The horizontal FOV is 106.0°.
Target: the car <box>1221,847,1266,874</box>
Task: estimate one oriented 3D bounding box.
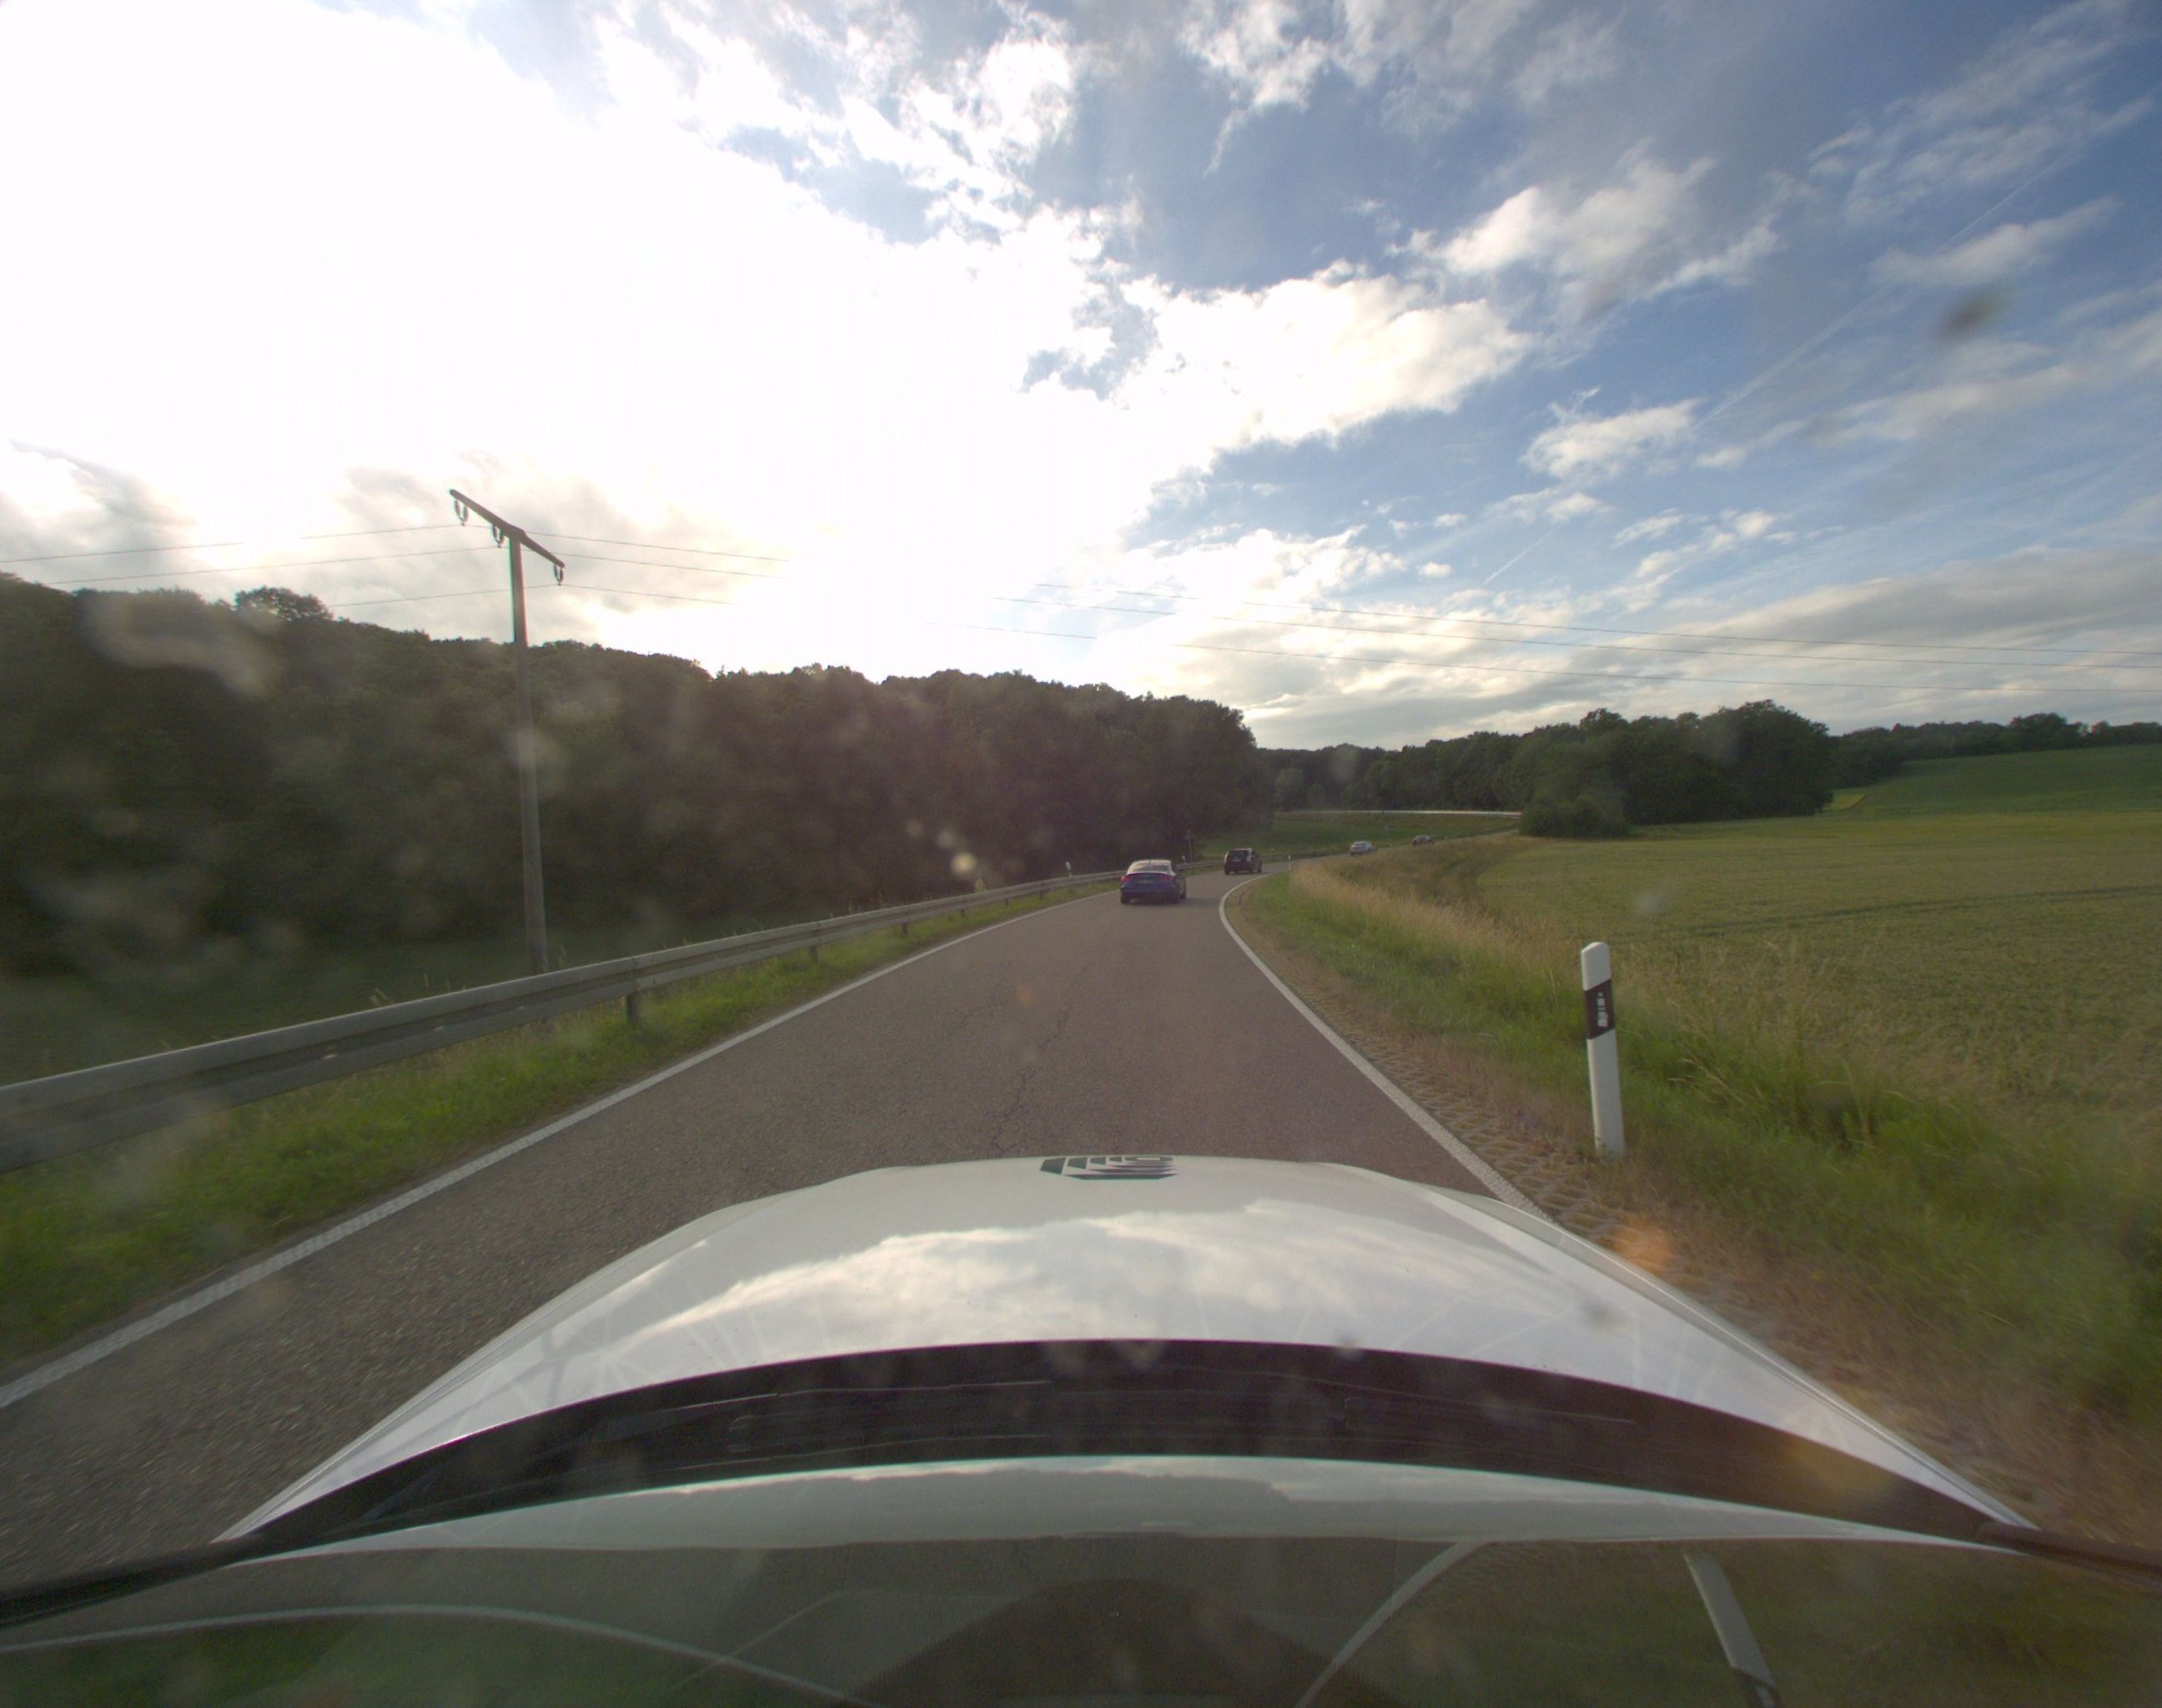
[{"bbox_3d":[10.368,0.396,51.768,1.845,1.568,4.023,-3,0,24],"label":"car"}]

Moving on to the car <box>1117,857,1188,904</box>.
[{"bbox_3d":[2.406,0.808,26.559,1.806,1.339,4.364,0,1,11],"label":"car"}]

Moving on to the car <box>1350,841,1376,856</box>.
[{"bbox_3d":[29.481,-0.574,85.131,1.666,1.376,4.026,-4,-1,32],"label":"car"}]

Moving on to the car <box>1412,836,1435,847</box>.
[{"bbox_3d":[43.667,-1.636,103.674,3.319,1.227,1.457,-3,-2,-44],"label":"car"}]
